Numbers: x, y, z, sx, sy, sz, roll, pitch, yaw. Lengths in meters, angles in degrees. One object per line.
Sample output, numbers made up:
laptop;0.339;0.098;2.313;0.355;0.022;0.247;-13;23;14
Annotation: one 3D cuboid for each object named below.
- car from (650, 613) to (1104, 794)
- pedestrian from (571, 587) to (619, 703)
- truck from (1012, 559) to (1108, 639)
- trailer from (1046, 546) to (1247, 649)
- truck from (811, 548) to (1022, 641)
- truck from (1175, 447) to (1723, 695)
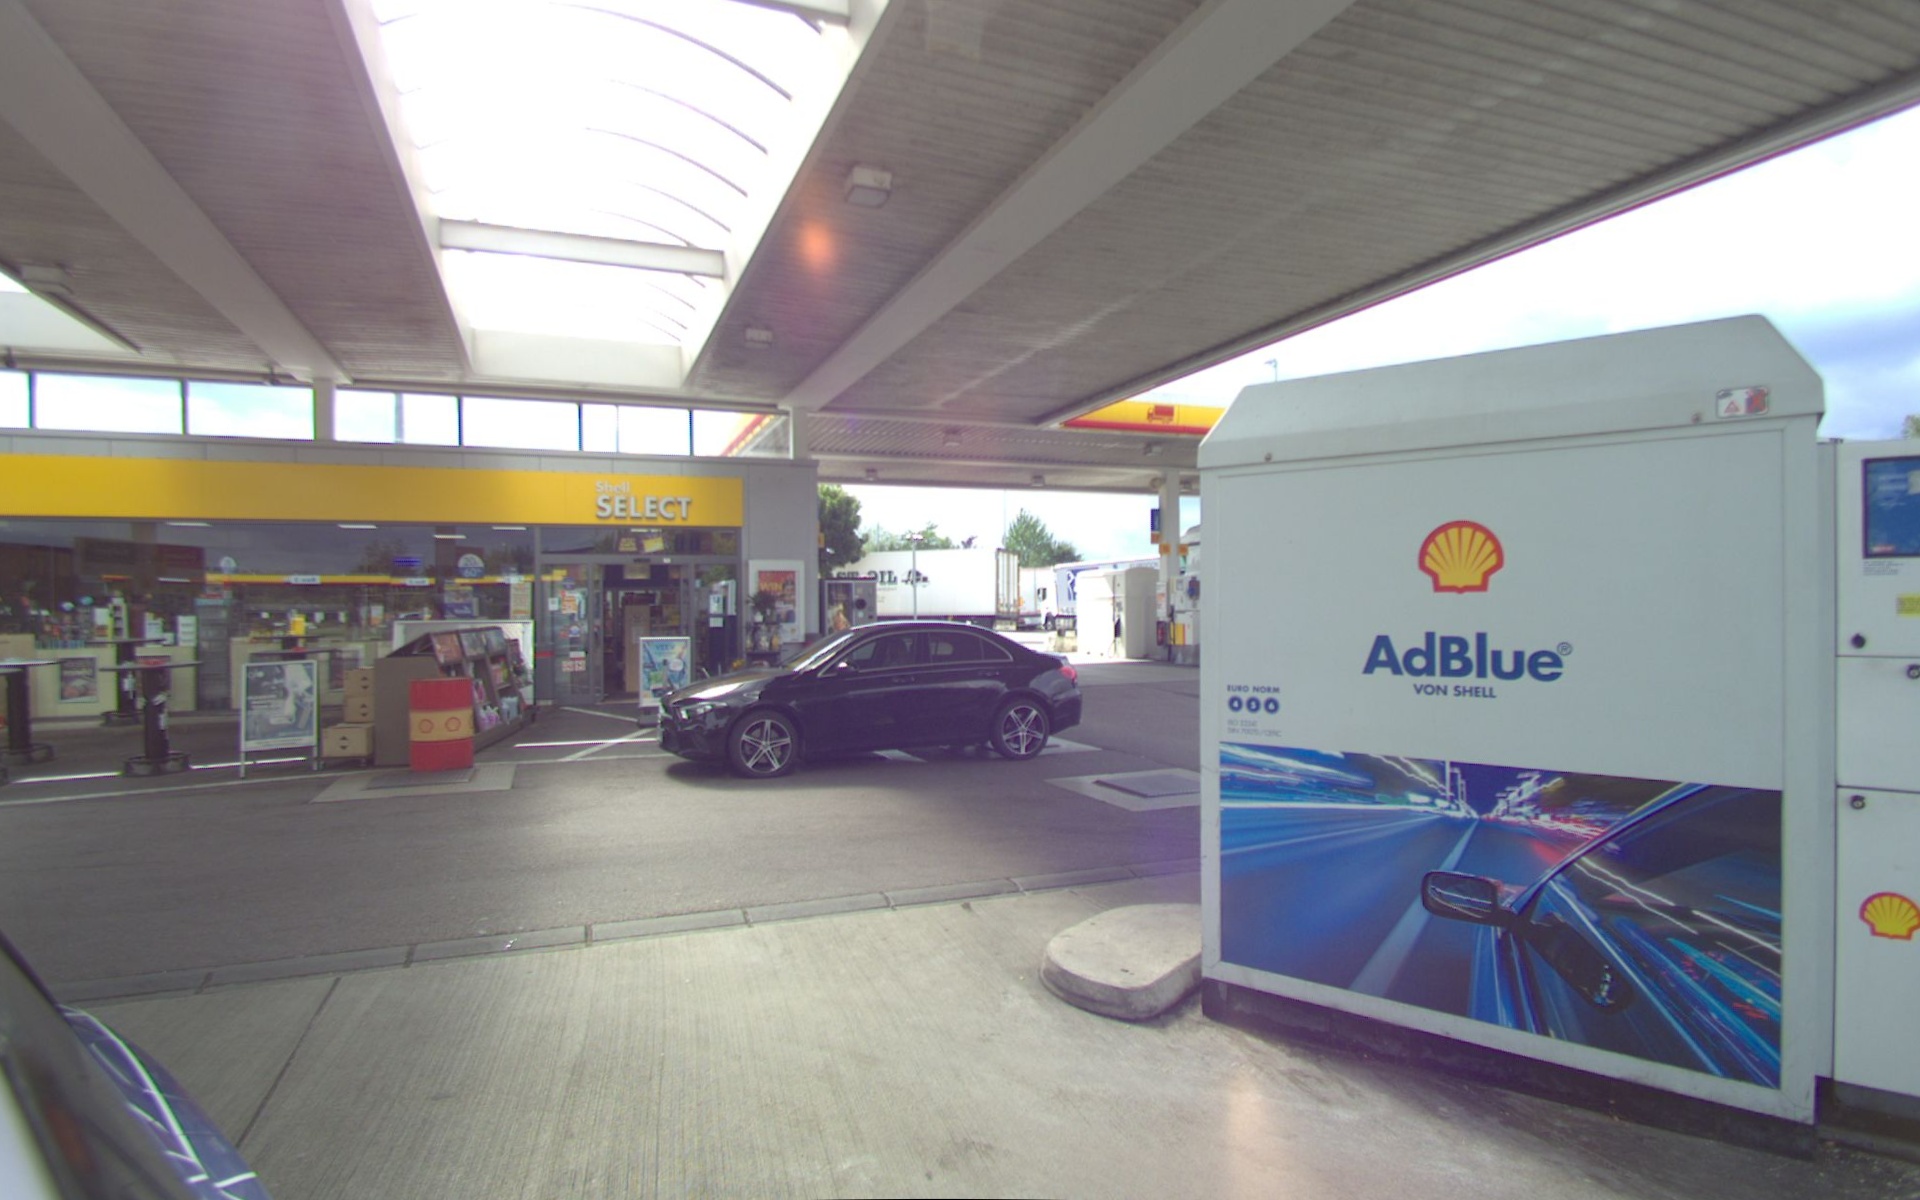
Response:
car;-0.875;0.940;10.593;4.394;1.511;1.785;-1;0;-21
pedestrian;-6.174;0.741;17.123;0.508;1.920;0.574;-1;0;34
truck;5.925;-0.054;61.228;3.333;4.538;6.249;-1;0;-20
trailer;9.104;-0.104;52.681;3.294;4.600;14.397;-1;0;-20
truck;-2.104;-0.185;46.846;9.536;4.036;2.772;-1;0;25
truck;9.658;-0.466;23.109;2.491;4.069;12.947;-1;0;-22
